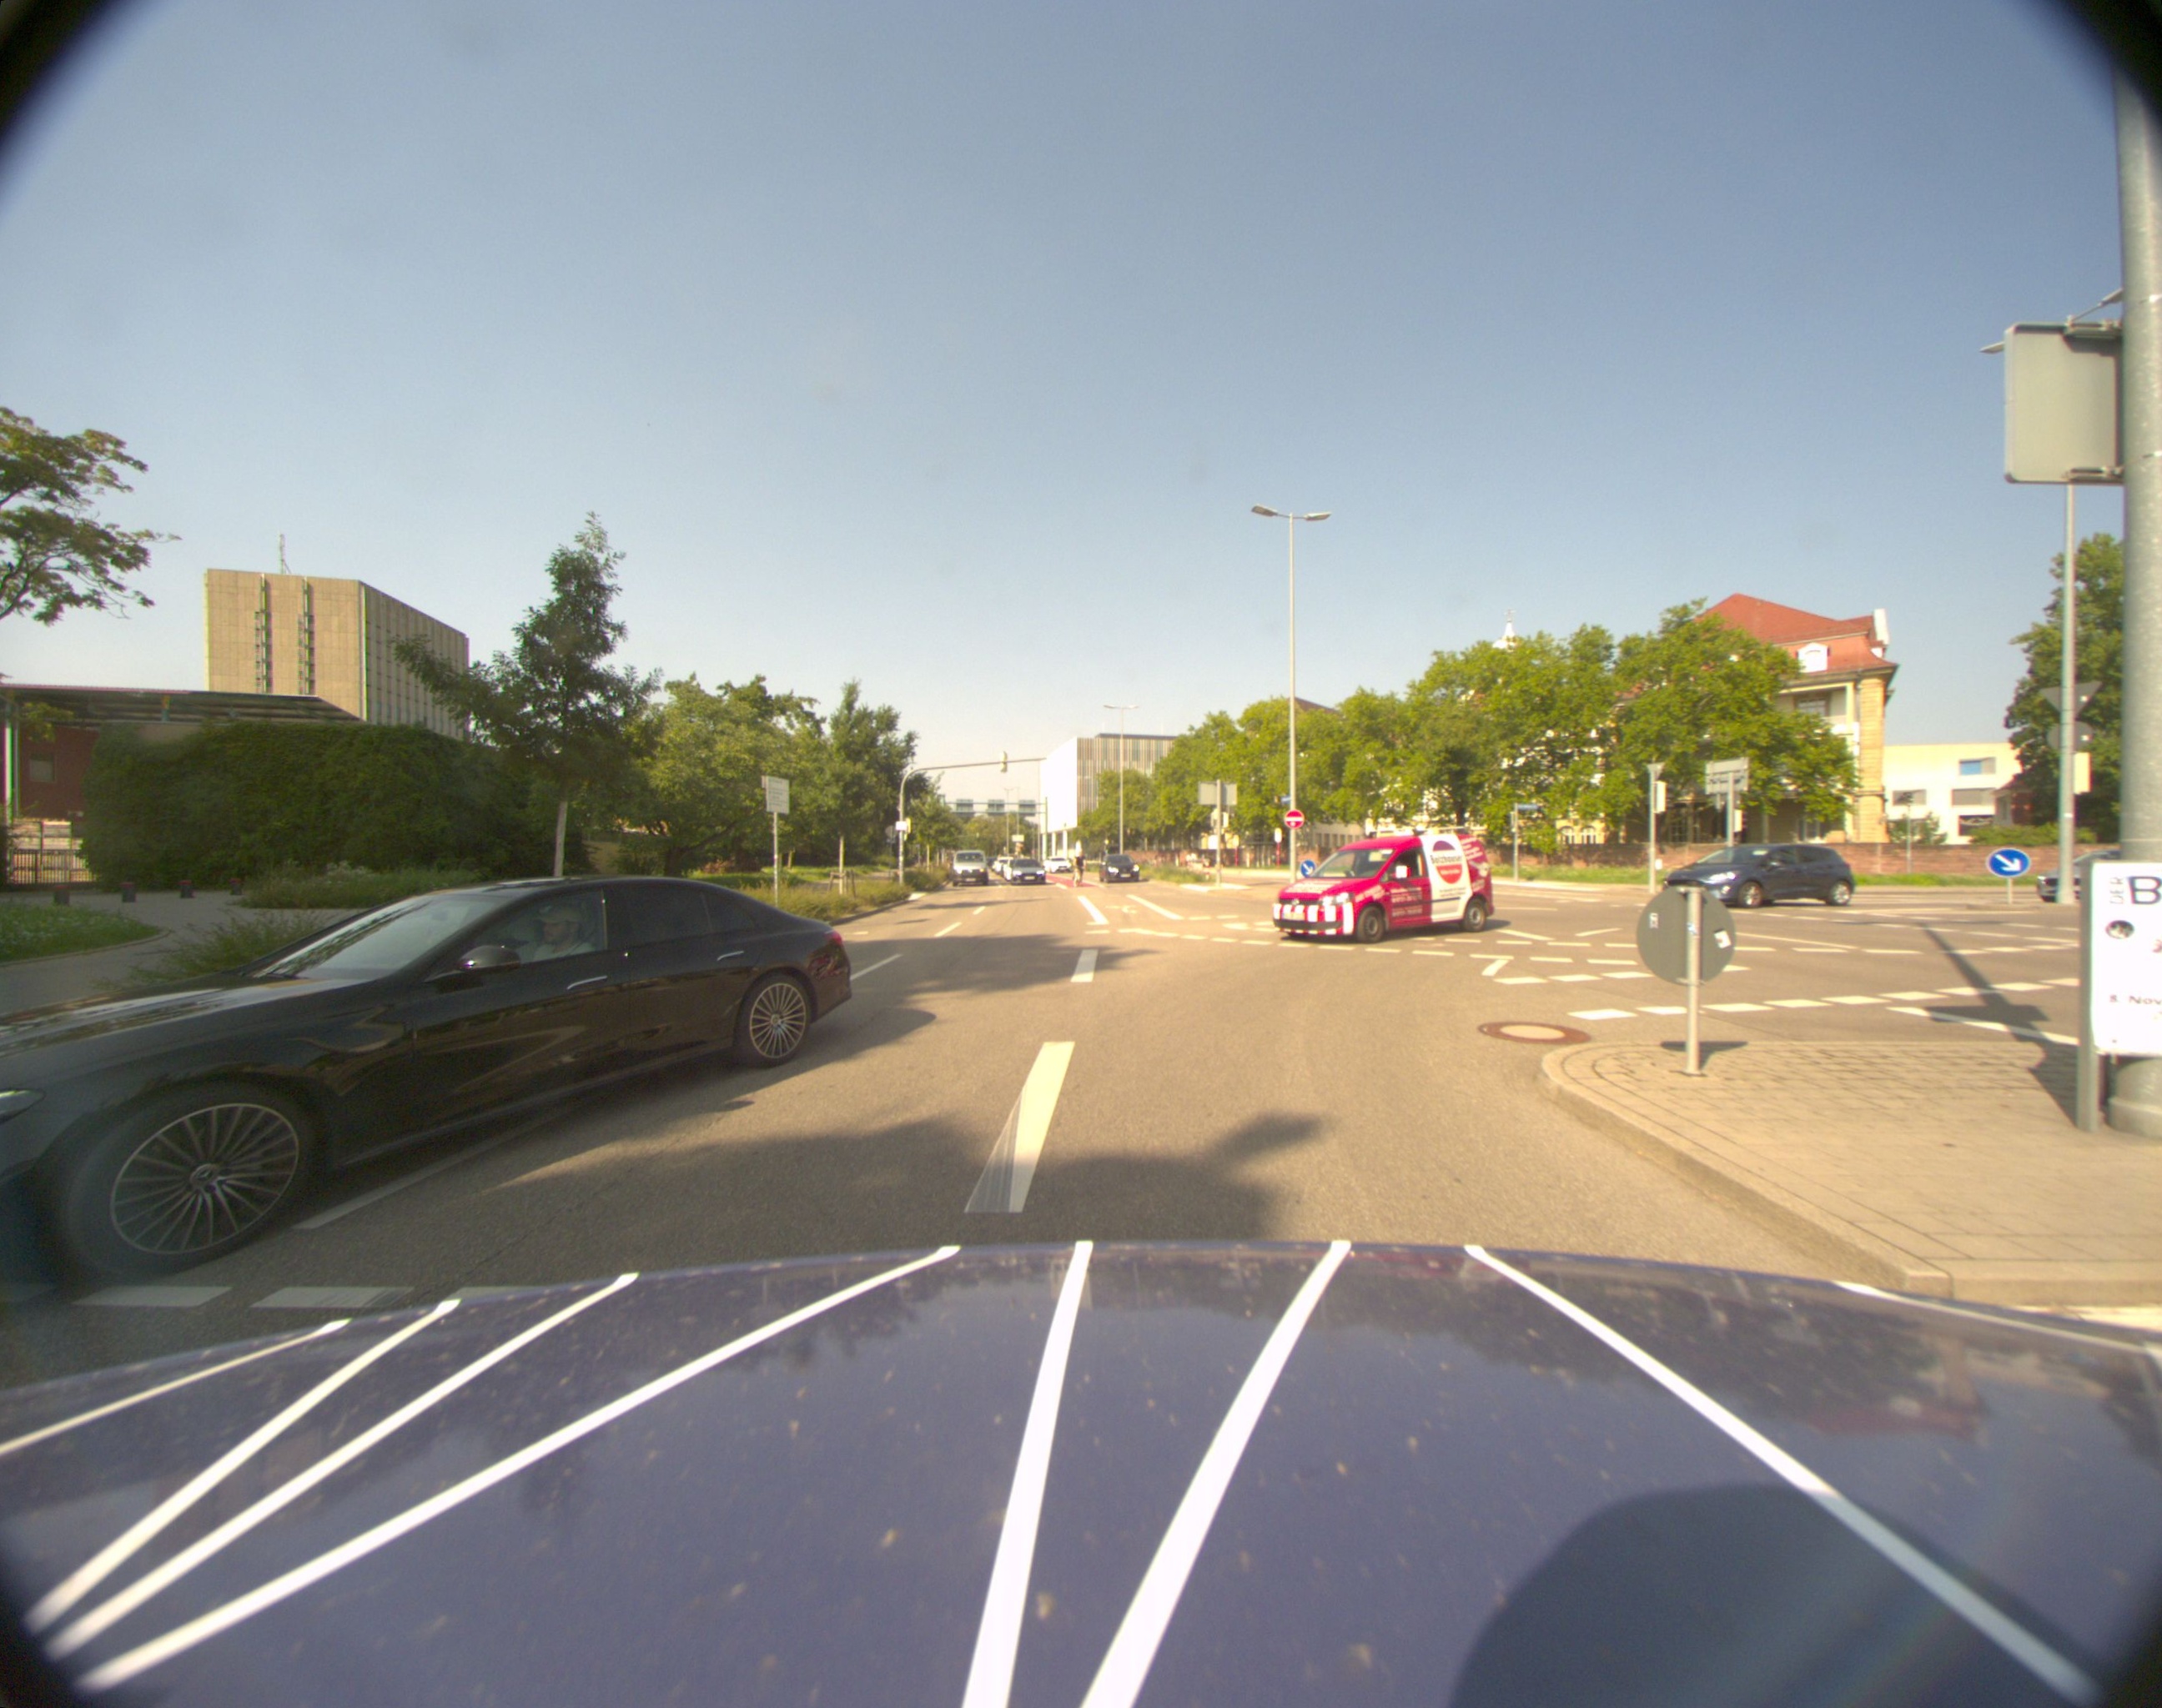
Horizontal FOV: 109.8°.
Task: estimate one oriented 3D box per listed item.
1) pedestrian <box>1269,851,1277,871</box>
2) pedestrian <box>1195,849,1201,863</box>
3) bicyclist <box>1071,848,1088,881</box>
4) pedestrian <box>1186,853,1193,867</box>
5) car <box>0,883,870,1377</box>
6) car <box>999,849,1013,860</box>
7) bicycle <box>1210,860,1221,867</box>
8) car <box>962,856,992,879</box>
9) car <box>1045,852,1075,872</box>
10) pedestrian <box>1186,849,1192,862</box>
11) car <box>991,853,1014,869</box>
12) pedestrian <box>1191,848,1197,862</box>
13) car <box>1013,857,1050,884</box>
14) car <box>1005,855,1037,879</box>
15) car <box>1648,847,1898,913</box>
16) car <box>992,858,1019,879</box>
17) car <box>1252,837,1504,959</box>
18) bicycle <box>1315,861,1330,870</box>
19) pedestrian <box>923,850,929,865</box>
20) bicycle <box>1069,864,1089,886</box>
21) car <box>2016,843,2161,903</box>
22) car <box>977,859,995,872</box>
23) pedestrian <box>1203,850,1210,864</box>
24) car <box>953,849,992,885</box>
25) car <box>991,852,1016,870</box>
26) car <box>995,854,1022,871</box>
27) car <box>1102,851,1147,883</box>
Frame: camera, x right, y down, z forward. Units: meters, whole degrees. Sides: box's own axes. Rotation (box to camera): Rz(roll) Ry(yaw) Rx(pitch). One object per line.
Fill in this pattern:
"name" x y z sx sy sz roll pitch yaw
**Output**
"pedestrian" 20.354 0.718 80.705 0.520 2.092 0.593 1 -2 -29
"pedestrian" 13.813 0.258 89.768 0.520 1.641 0.593 1 -2 -29
"bicyclist" -0.092 0.525 37.446 0.749 1.626 0.875 0 0 -8
"pedestrian" 13.006 0.699 91.308 0.520 1.641 0.593 1 -2 -29
"car" -3.655 1.015 4.687 1.821 1.431 4.881 -1 0 24
"car" -14.324 0.171 144.926 1.921 2.001 3.995 0 -2 -18
"bicycle" 16.128 1.167 91.172 0.434 0.830 1.547 0 0 -25
"car" -6.855 0.859 50.448 1.810 1.497 3.966 0 0 -5
"car" -1.904 0.678 66.971 1.933 1.650 4.290 0 0 -12
"pedestrian" 13.143 0.223 92.257 0.536 1.561 0.501 1 -2 -31
"car" -8.138 0.684 78.449 1.933 1.650 4.290 0 0 -12
"pedestrian" 13.802 0.088 92.716 0.484 1.641 0.593 1 -2 -29
"car" -2.780 0.865 42.072 1.911 1.392 4.918 0 0 -5
"car" -3.922 0.823 49.308 1.999 1.497 4.433 0 0 -5
"car" 15.677 0.552 17.337 4.319 1.419 1.640 0 0 -2
"car" -5.838 1.070 58.637 2.000 1.497 4.432 0 0 -7
"car" 5.258 0.654 13.359 4.283 1.808 1.734 -1 1 -28
"bicycle" 24.181 1.139 76.150 0.435 0.830 1.546 0 0 -33
"pedestrian" -18.782 0.415 91.936 0.623 1.835 0.641 0 1 -10
"bicycle" -0.096 1.034 37.460 0.770 1.046 1.773 0 1 -8
"car" 26.622 0.451 19.533 3.861 1.425 1.719 0 0 -13
"car" -12.177 1.487 97.573 1.933 1.650 4.290 0 0 -12
"pedestrian" 14.940 0.316 90.344 0.484 1.641 0.593 1 -2 -29
"car" -5.872 0.665 41.728 1.846 1.864 4.971 0 0 -5
"car" -7.460 0.660 72.958 1.933 1.650 4.290 0 0 -12
"car" -6.392 0.717 66.991 1.933 1.497 4.290 0 0 -12
"car" 2.322 0.675 41.827 1.853 1.569 4.712 -2 0 -4
